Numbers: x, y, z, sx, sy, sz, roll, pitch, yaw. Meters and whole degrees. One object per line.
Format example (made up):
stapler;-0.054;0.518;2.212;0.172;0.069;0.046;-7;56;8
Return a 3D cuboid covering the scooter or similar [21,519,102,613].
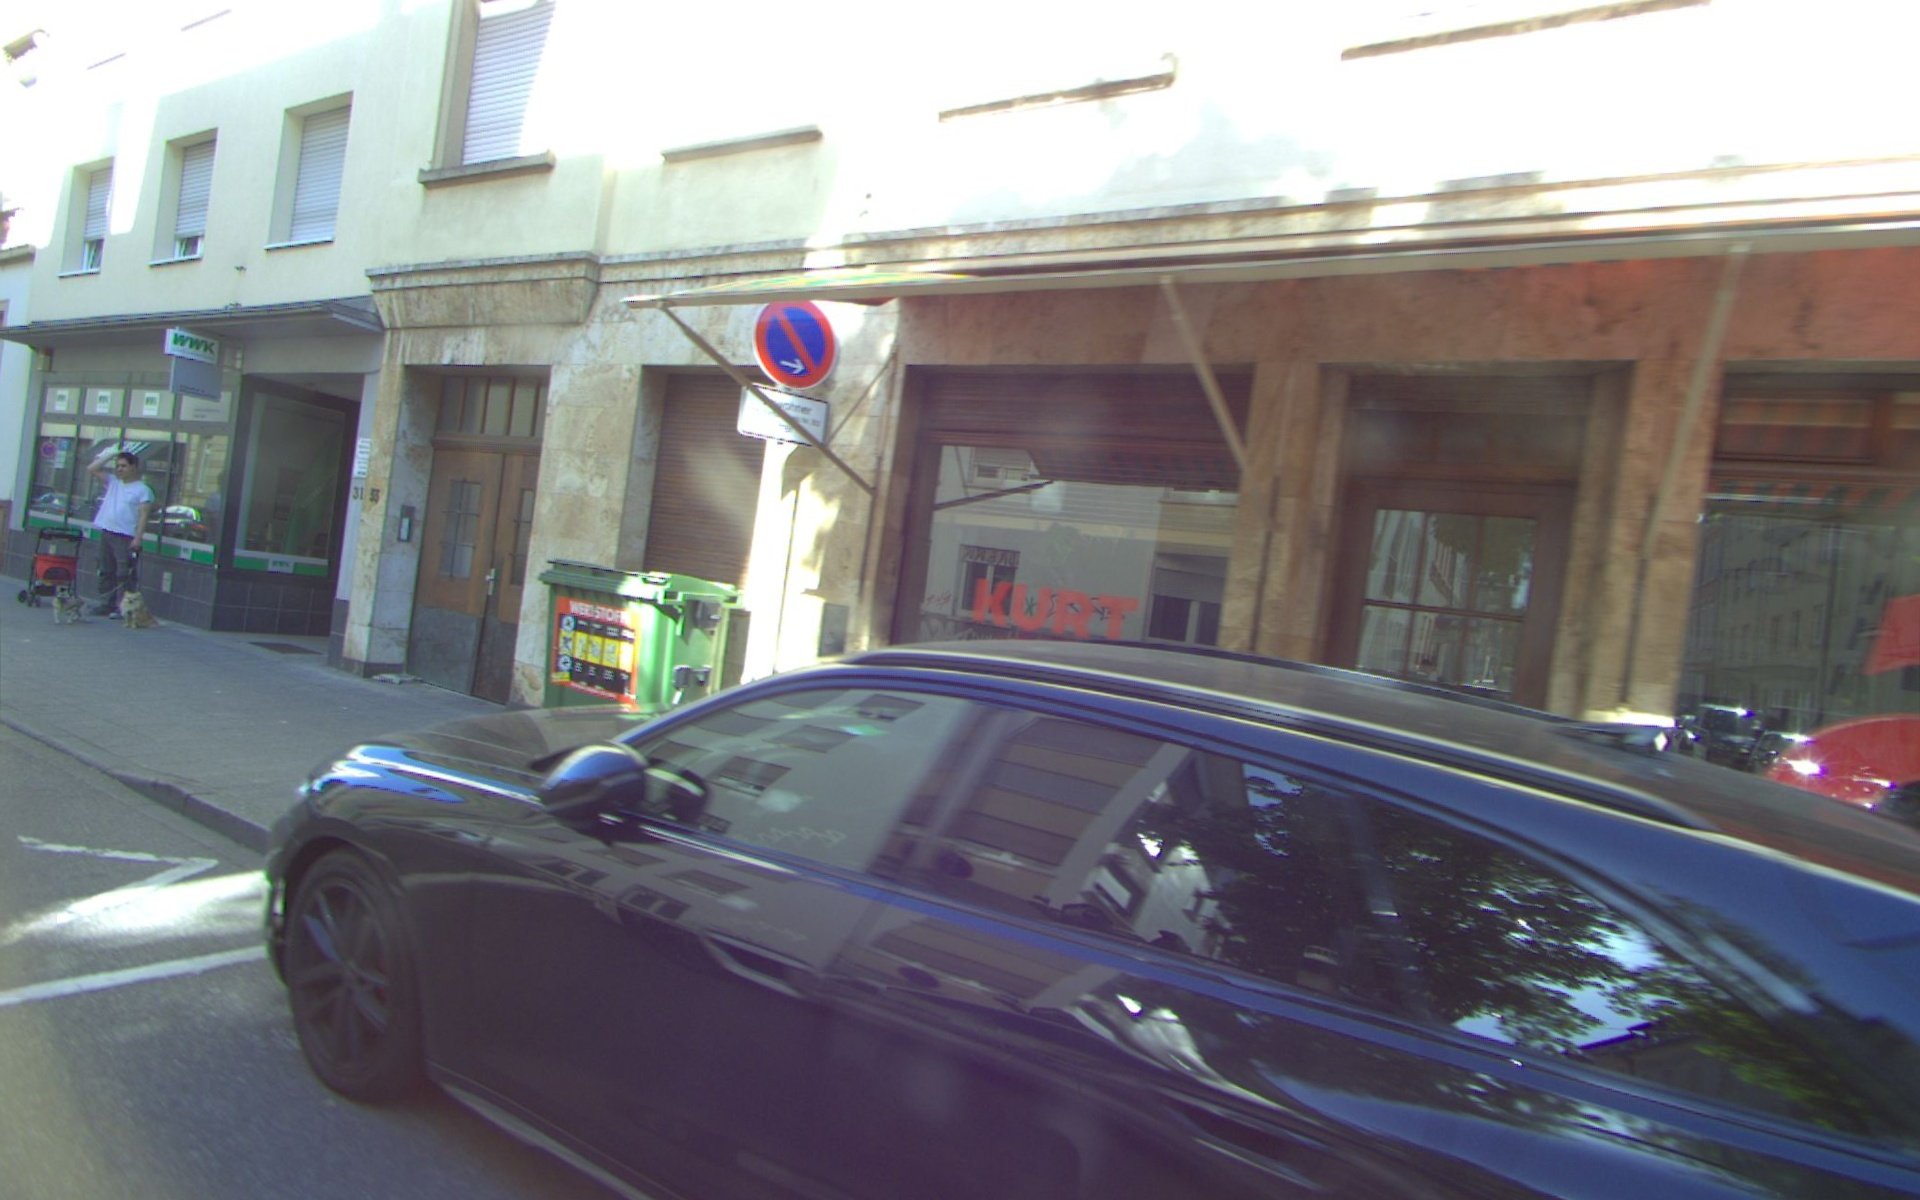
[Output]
scooter or similar;-10.369;-0.393;11.609;0.855;0.957;0.490;9;2;38

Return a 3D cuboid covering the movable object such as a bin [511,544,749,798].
movable object such as a bin;-2.247;0.433;6.818;1.350;1.455;0.746;8;3;33

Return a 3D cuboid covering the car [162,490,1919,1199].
car;0.087;0.804;2.700;4.815;1.597;1.805;8;-1;31

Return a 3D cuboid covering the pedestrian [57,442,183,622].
pedestrian;-9.404;-0.743;11.279;0.734;1.884;0.650;7;3;9
